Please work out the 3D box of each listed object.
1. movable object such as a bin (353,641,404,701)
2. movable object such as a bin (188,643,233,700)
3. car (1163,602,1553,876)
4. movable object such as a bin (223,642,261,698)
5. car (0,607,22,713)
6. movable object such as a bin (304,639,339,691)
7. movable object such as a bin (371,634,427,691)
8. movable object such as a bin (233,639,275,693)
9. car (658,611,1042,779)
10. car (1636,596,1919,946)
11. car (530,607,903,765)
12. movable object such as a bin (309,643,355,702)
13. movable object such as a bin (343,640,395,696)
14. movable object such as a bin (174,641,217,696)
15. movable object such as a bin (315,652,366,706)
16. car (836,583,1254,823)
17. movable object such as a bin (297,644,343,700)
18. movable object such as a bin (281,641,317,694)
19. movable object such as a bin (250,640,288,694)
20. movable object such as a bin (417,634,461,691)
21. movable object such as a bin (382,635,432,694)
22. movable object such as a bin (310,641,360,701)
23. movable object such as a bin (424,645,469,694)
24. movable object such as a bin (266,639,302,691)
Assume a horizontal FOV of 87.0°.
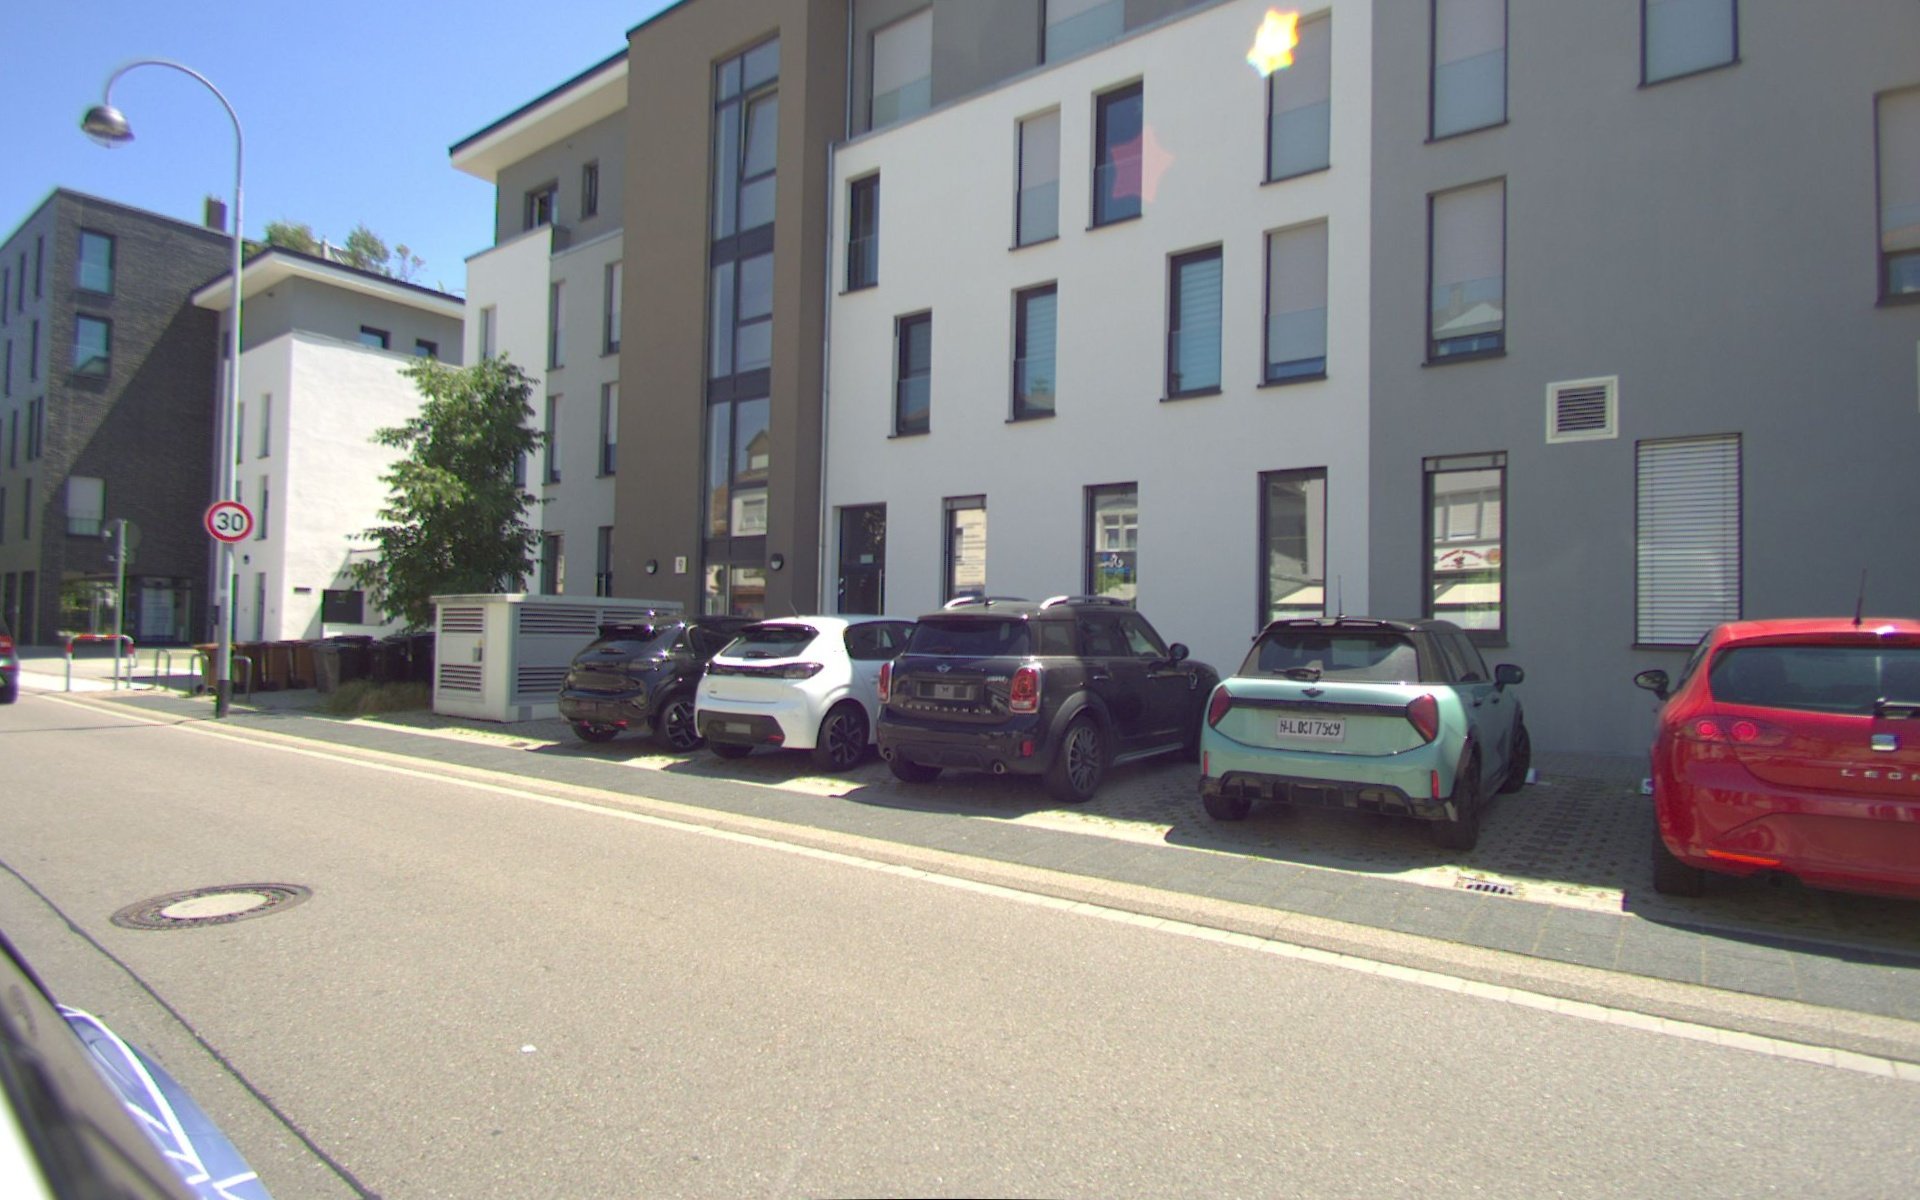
[{"bbox_3d":[-10.378,1.254,18.075,0.541,1.047,0.552,0,-2,20],"label":"movable object such as a bin"},{"bbox_3d":[-13.704,1.303,18.515,0.586,1.005,0.478,-1,-2,36],"label":"movable object such as a bin"},{"bbox_3d":[3.277,0.795,7.805,1.995,1.508,3.999,0,-1,34],"label":"car"},{"bbox_3d":[-13.406,1.298,18.898,0.554,1.005,0.399,-1,-2,36],"label":"movable object such as a bin"},{"bbox_3d":[-17.490,0.974,17.067,4.070,1.714,1.793,-1,-2,38],"label":"car"},{"bbox_3d":[-12.705,1.285,20.135,0.554,1.005,0.399,-1,-2,36],"label":"movable object such as a bin"},{"bbox_3d":[-10.662,1.177,19.248,0.600,1.047,0.673,0,-2,20],"label":"movable object such as a bin"},{"bbox_3d":[-13.668,1.271,19.589,0.587,1.005,0.478,-1,-2,36],"label":"movable object such as a bin"},{"bbox_3d":[-0.981,0.838,10.791,1.907,1.432,3.950,0,-1,37],"label":"car"},{"bbox_3d":[5.185,0.728,5.752,1.997,1.441,3.994,-1,-1,37],"label":"car"},{"bbox_3d":[-2.732,0.862,12.074,1.997,1.527,3.949,0,-1,38],"label":"car"},{"bbox_3d":[-10.909,1.250,17.577,0.426,1.005,0.548,-1,-2,38],"label":"movable object such as a bin"},{"bbox_3d":[-11.289,1.289,19.336,0.578,1.047,0.617,0,-2,20],"label":"movable object such as a bin"},{"bbox_3d":[-14.242,1.265,18.855,0.587,1.005,0.478,-1,-2,37],"label":"movable object such as a bin"},{"bbox_3d":[-10.498,1.332,17.153,0.478,0.874,0.552,0,-2,20],"label":"movable object such as a bin"},{"bbox_3d":[0.978,0.744,9.242,1.997,1.664,3.994,-1,-1,37],"label":"car"},{"bbox_3d":[-11.836,1.318,18.729,0.402,1.006,0.551,0,-3,23],"label":"movable object such as a bin"},{"bbox_3d":[-12.878,1.300,19.723,0.554,1.005,0.399,-1,-2,36],"label":"movable object such as a bin"},{"bbox_3d":[-13.122,1.262,19.224,0.554,1.005,0.399,-1,-2,36],"label":"movable object such as a bin"},{"bbox_3d":[-9.959,1.183,19.339,0.478,1.047,0.552,0,-2,20],"label":"movable object such as a bin"},{"bbox_3d":[-10.171,1.180,18.629,0.546,1.047,0.574,0,-2,20],"label":"movable object such as a bin"},{"bbox_3d":[-11.191,1.261,18.115,0.558,1.028,0.550,0,-2,32],"label":"movable object such as a bin"},{"bbox_3d":[-9.457,1.266,18.642,0.478,0.874,0.552,0,-2,20],"label":"movable object such as a bin"},{"bbox_3d":[-13.387,1.276,20.050,0.522,1.005,0.420,-1,-2,37],"label":"movable object such as a bin"}]
